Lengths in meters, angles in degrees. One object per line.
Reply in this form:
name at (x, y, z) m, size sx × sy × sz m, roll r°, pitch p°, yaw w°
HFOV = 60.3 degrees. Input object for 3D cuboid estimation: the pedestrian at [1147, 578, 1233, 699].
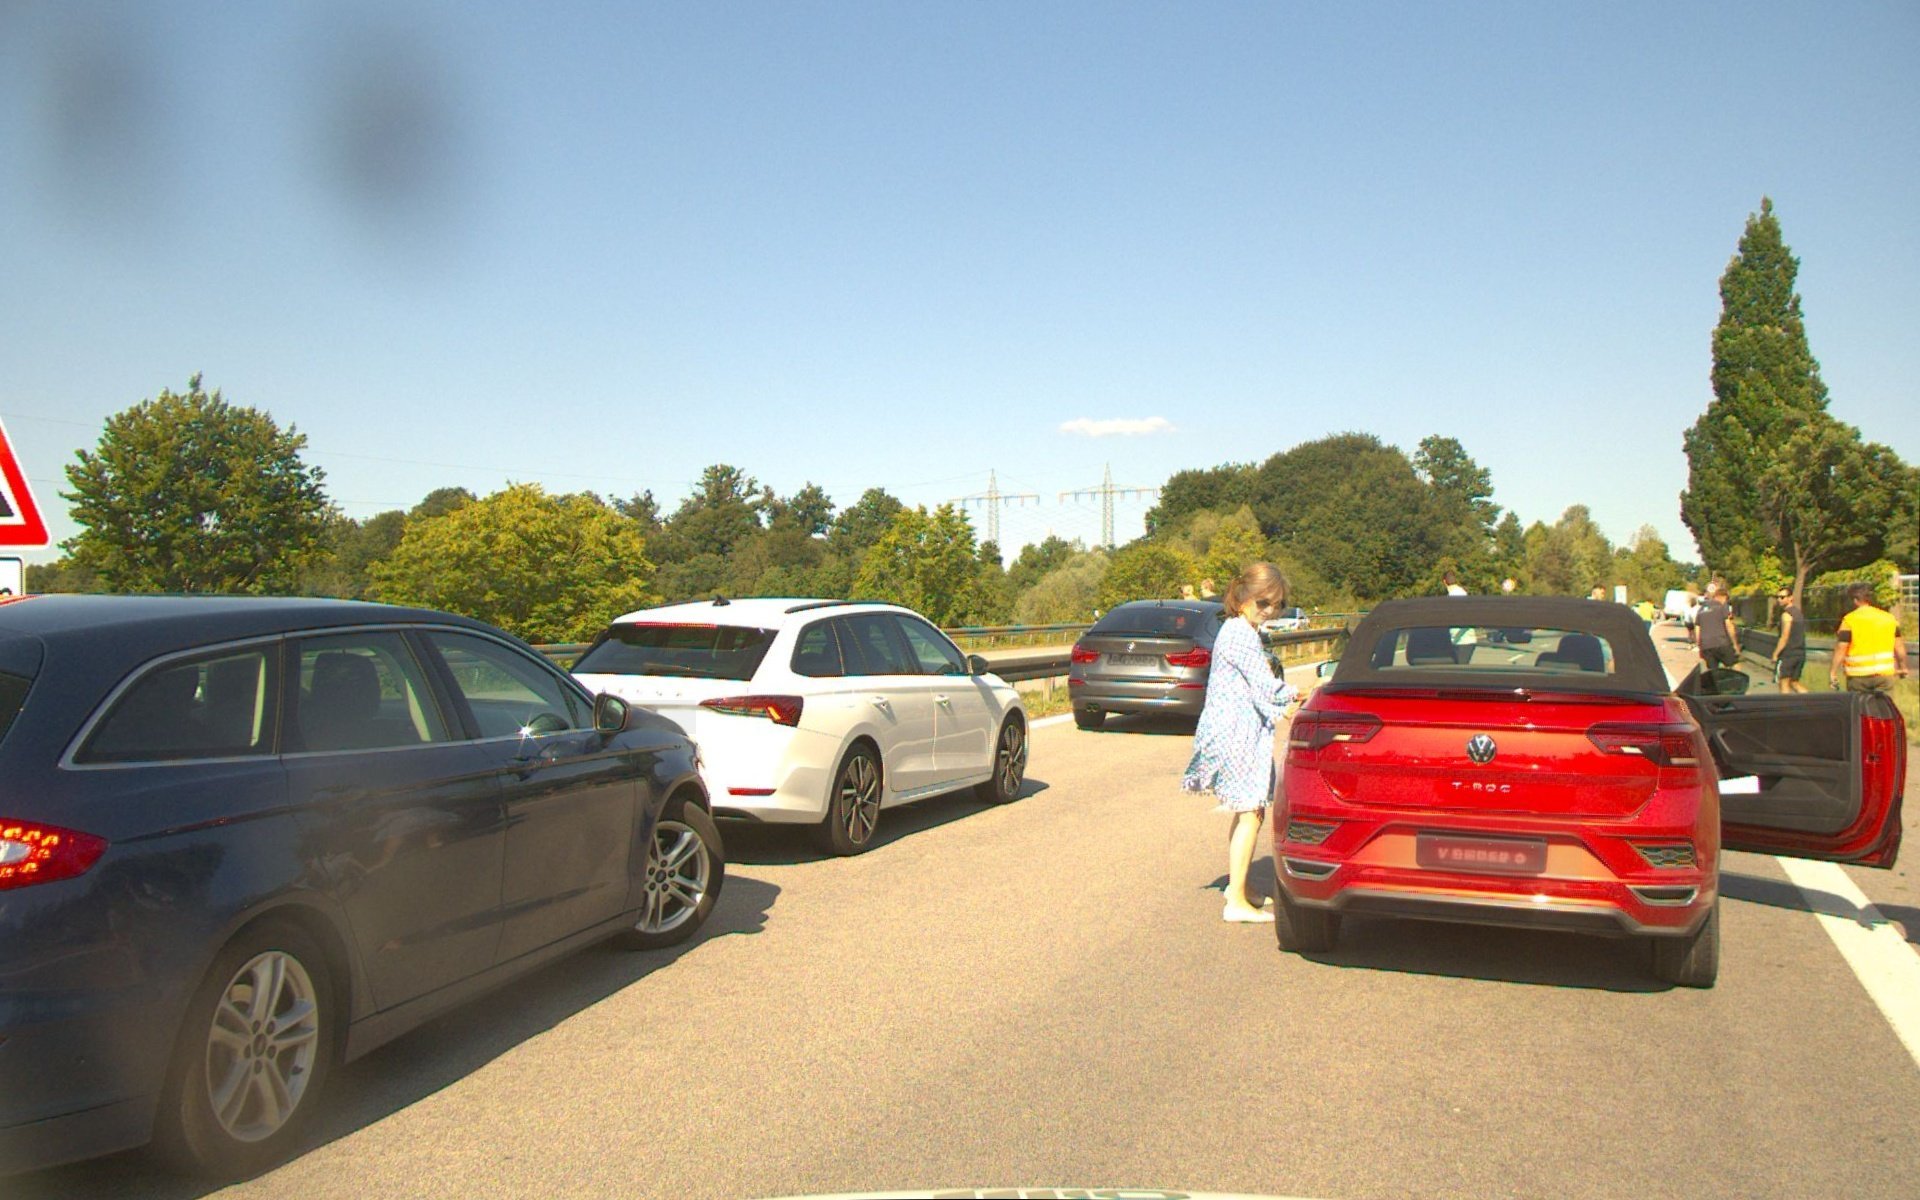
pedestrian at (3.522, 0.578, 25.287) m, size 1.091 × 1.794 × 1.044 m, roll -1°, pitch -1°, yaw 21°

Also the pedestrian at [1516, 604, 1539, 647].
pedestrian at (23.072, 1.032, 67.272) m, size 0.776 × 1.719 × 0.791 m, roll 1°, pitch 0°, yaw 26°

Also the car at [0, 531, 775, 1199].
car at (-2.179, 0.644, 5.456) m, size 1.750 × 1.519 × 4.497 m, roll -1°, pitch 0°, yaw 12°

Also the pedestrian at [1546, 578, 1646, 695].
pedestrian at (10.230, 0.573, 26.598) m, size 1.080 × 1.820 × 1.093 m, roll 1°, pitch 0°, yaw -37°

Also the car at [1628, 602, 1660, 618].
car at (63.443, 0.924, 153.316) m, size 1.704 × 1.513 × 4.192 m, roll 1°, pitch 0°, yaw 37°

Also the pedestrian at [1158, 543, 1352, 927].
pedestrian at (1.424, 0.604, 7.908) m, size 0.726 × 1.712 × 0.841 m, roll -1°, pitch 0°, yaw 24°

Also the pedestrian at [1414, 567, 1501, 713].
pedestrian at (6.860, 0.544, 22.819) m, size 1.082 × 1.946 × 1.258 m, roll -1°, pitch 0°, yaw 17°

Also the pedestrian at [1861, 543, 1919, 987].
pedestrian at (4.296, 0.633, 6.614) m, size 1.119 × 1.725 × 0.879 m, roll 0°, pitch -1°, yaw -42°

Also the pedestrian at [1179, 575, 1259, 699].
pedestrian at (4.134, 0.579, 26.360) m, size 1.043 × 1.916 × 1.093 m, roll -1°, pitch -1°, yaw 21°

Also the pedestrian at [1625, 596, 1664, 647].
pedestrian at (23.495, 0.729, 56.778) m, size 1.093 × 1.719 × 0.971 m, roll 1°, pitch 0°, yaw 30°

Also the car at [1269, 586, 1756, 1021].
car at (2.754, 0.712, 8.098) m, size 1.697 × 1.513 × 4.210 m, roll 1°, pitch 0°, yaw 21°

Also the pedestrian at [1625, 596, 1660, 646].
pedestrian at (24.276, 0.747, 58.809) m, size 1.036 × 1.719 × 1.016 m, roll 1°, pitch 0°, yaw 28°

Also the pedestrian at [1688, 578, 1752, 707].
pedestrian at (10.886, 0.596, 23.725) m, size 0.795 × 1.790 × 0.828 m, roll 1°, pitch 0°, yaw 24°

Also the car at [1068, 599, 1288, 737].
car at (2.743, 0.724, 19.938) m, size 1.660 × 1.451 × 4.334 m, roll 1°, pitch 0°, yaw 21°

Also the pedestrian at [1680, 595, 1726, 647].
pedestrian at (24.745, 0.697, 55.102) m, size 0.992 × 1.719 × 0.994 m, roll 1°, pitch 0°, yaw -19°

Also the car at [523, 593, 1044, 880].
car at (-0.894, 0.706, 10.844) m, size 1.660 × 1.467 × 4.210 m, roll 1°, pitch 0°, yaw 21°

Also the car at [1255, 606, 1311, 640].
car at (14.599, 1.025, 74.605) m, size 1.660 × 1.451 × 4.304 m, roll 1°, pitch 0°, yaw 23°

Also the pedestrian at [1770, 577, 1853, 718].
pedestrian at (10.866, 0.593, 21.125) m, size 0.877 × 1.755 × 0.754 m, roll 1°, pitch 0°, yaw 24°

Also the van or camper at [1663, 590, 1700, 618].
van or camper at (64.249, 0.373, 147.309) m, size 1.962 × 2.356 × 4.449 m, roll 1°, pitch 0°, yaw 38°

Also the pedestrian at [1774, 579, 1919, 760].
pedestrian at (8.776, 0.650, 16.136) m, size 0.939 × 1.683 × 1.276 m, roll -1°, pitch 0°, yaw -6°
